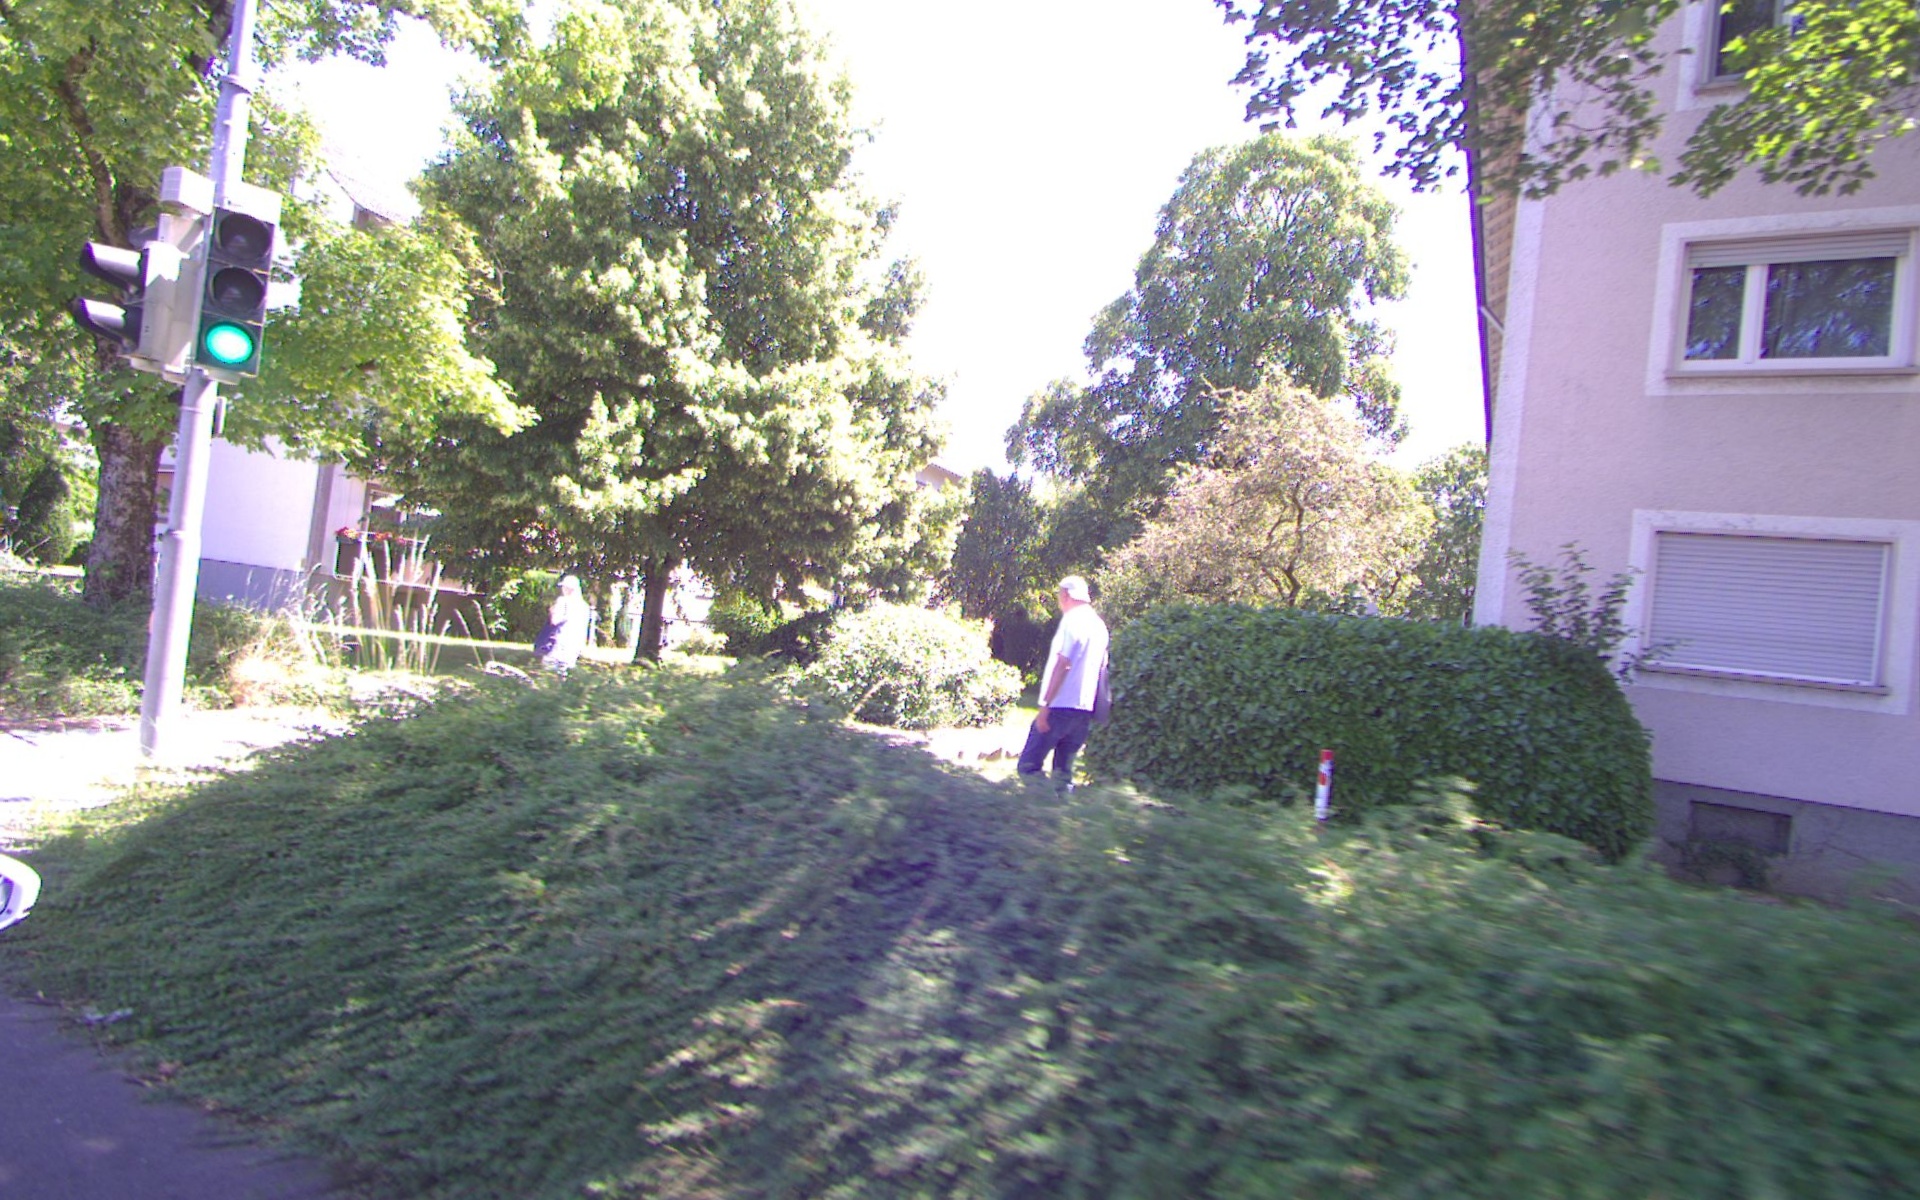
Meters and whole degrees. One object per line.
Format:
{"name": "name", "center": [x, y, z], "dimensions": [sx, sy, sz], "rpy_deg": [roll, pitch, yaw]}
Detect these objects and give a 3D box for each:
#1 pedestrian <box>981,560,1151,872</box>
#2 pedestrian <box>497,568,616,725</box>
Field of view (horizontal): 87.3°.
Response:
{"name": "pedestrian", "center": [0.735, 0.749, 6.787], "dimensions": [0.885, 1.895, 0.675], "rpy_deg": [6, -1, 11]}
{"name": "pedestrian", "center": [-4.596, 0.526, 11.484], "dimensions": [0.836, 1.653, 0.720], "rpy_deg": [6, -1, 23]}
